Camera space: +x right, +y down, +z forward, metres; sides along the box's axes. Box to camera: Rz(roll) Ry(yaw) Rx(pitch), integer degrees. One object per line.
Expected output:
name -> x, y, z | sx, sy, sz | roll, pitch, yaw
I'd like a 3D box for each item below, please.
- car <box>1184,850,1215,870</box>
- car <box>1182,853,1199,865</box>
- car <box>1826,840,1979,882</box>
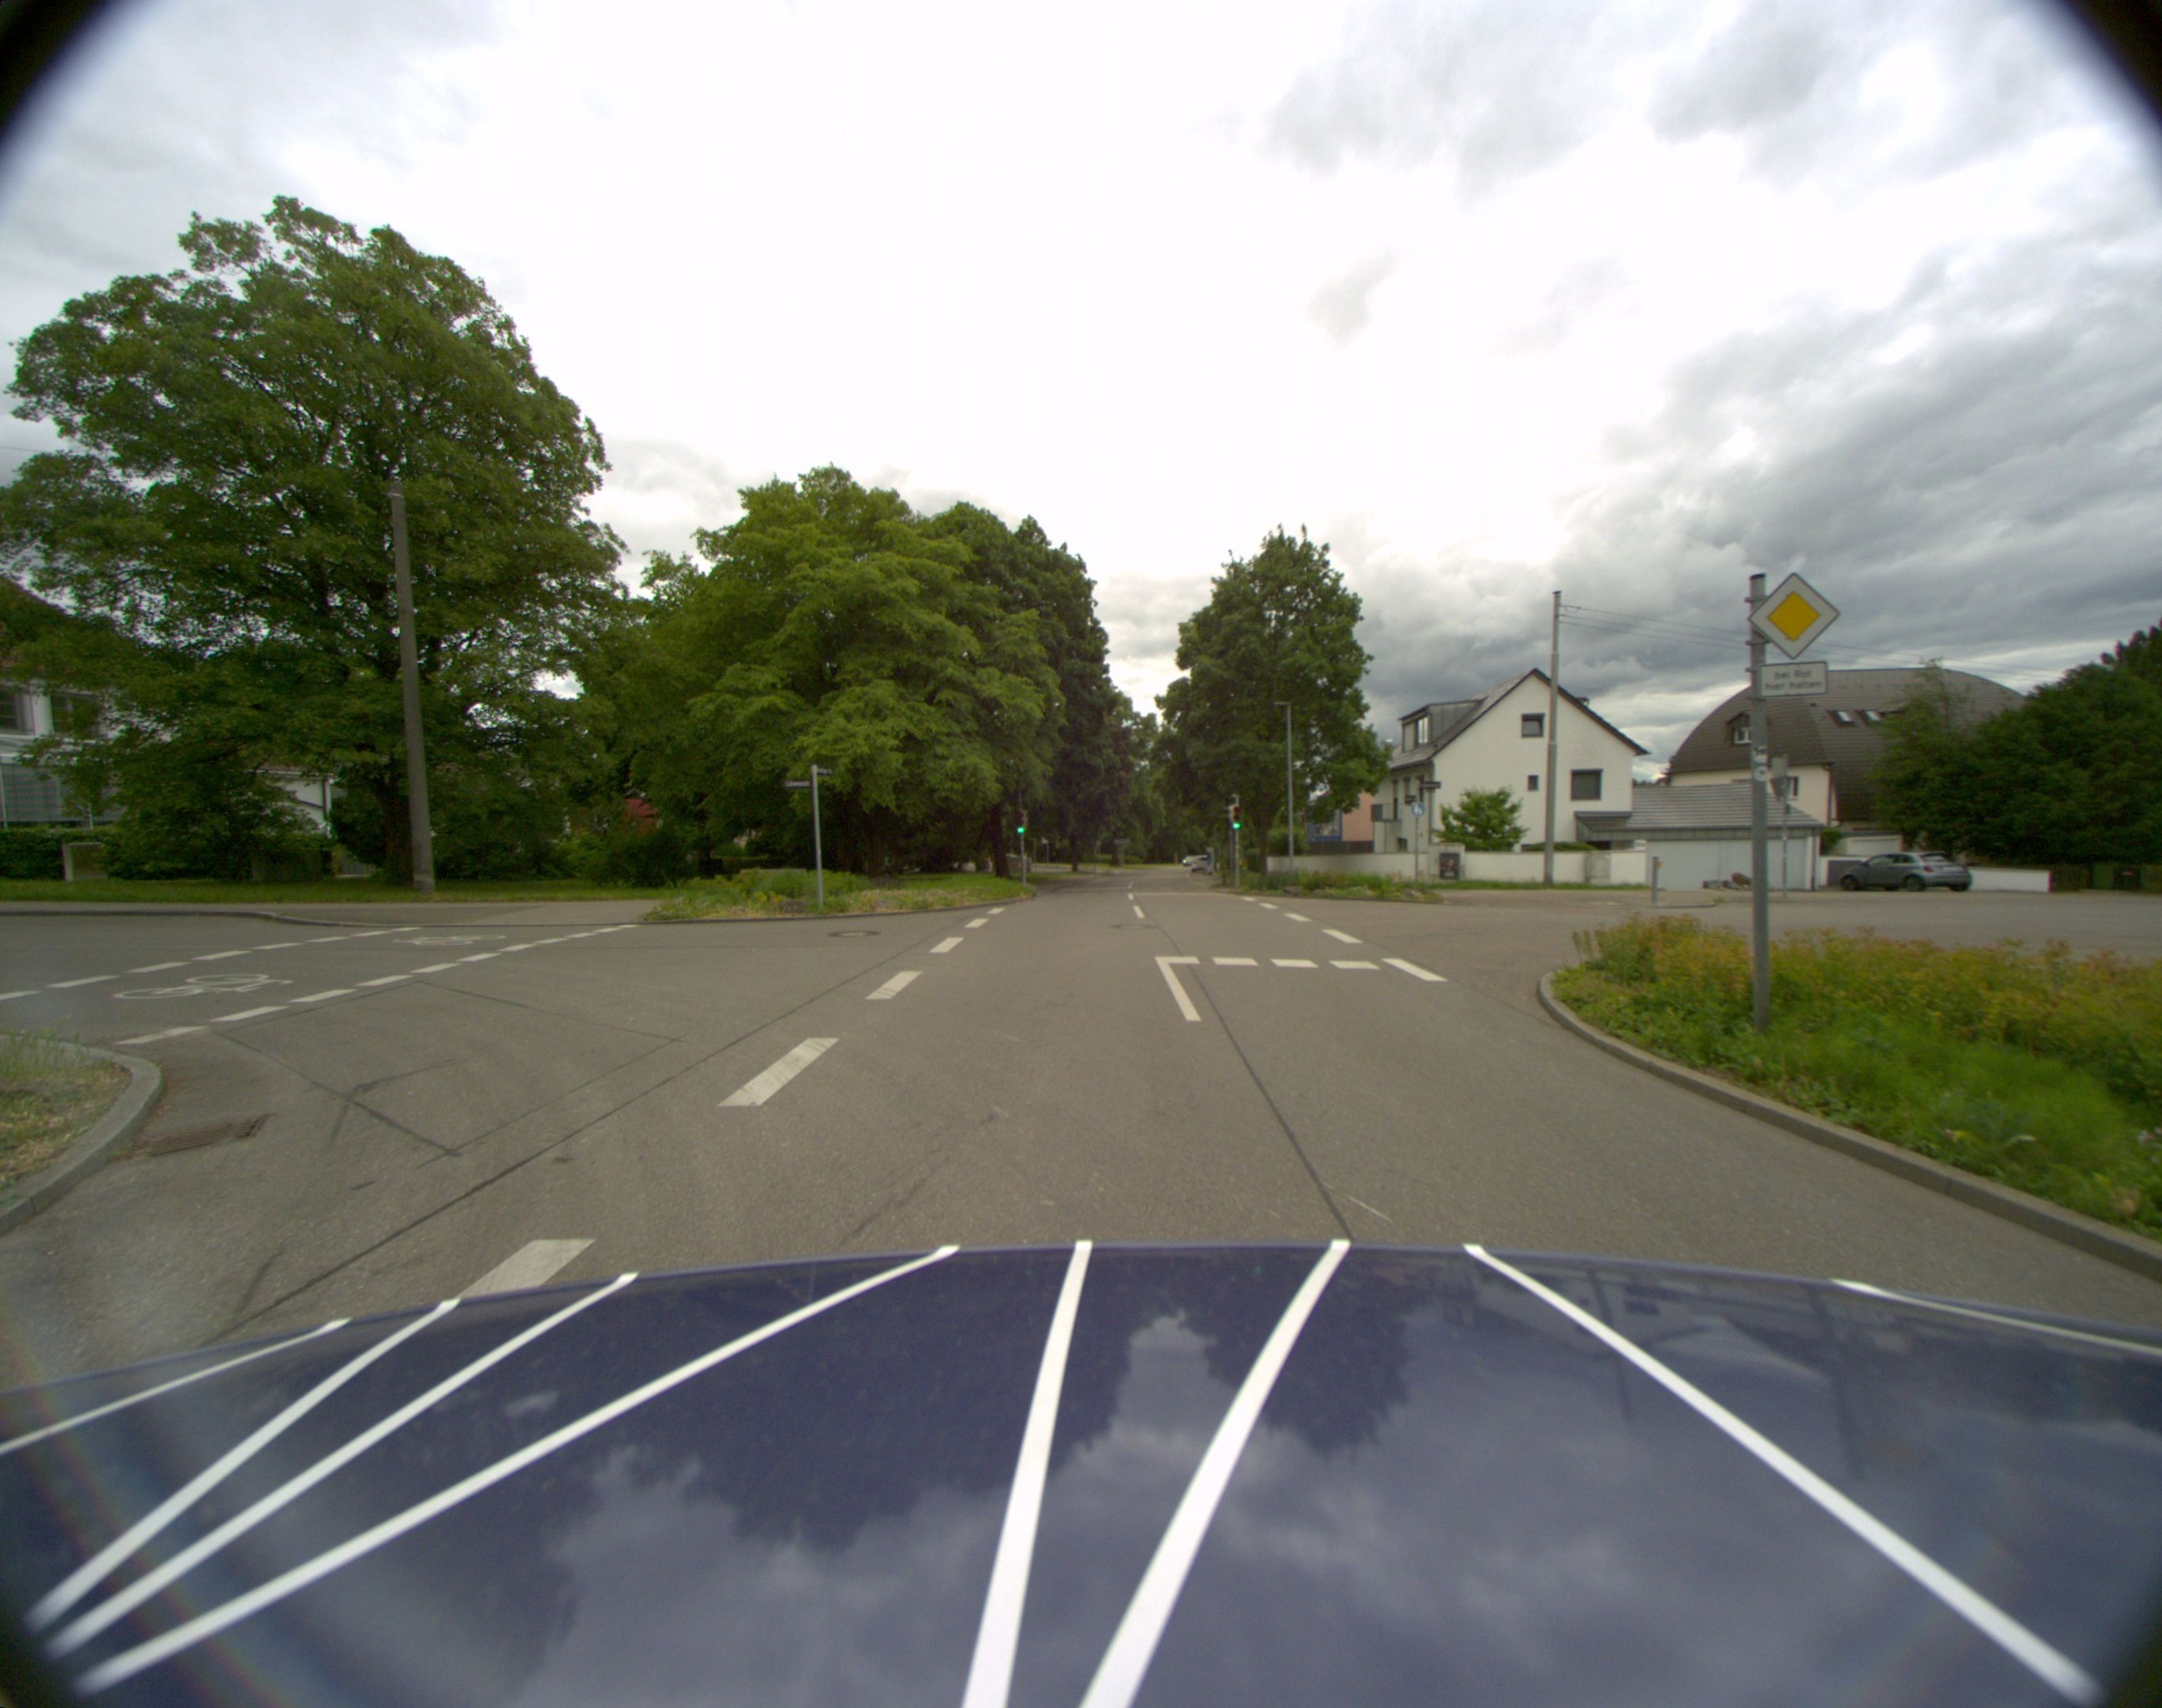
car -> 10.421, 0.507, 66.626 | 1.995, 1.543, 4.004 | 1, 2, 18
car -> 15.529, 0.718, 107.814 | 1.566, 1.504, 3.401 | 1, 3, 21
car -> 31.050, 0.324, 28.905 | 1.691, 1.487, 3.860 | 0, -2, 2
